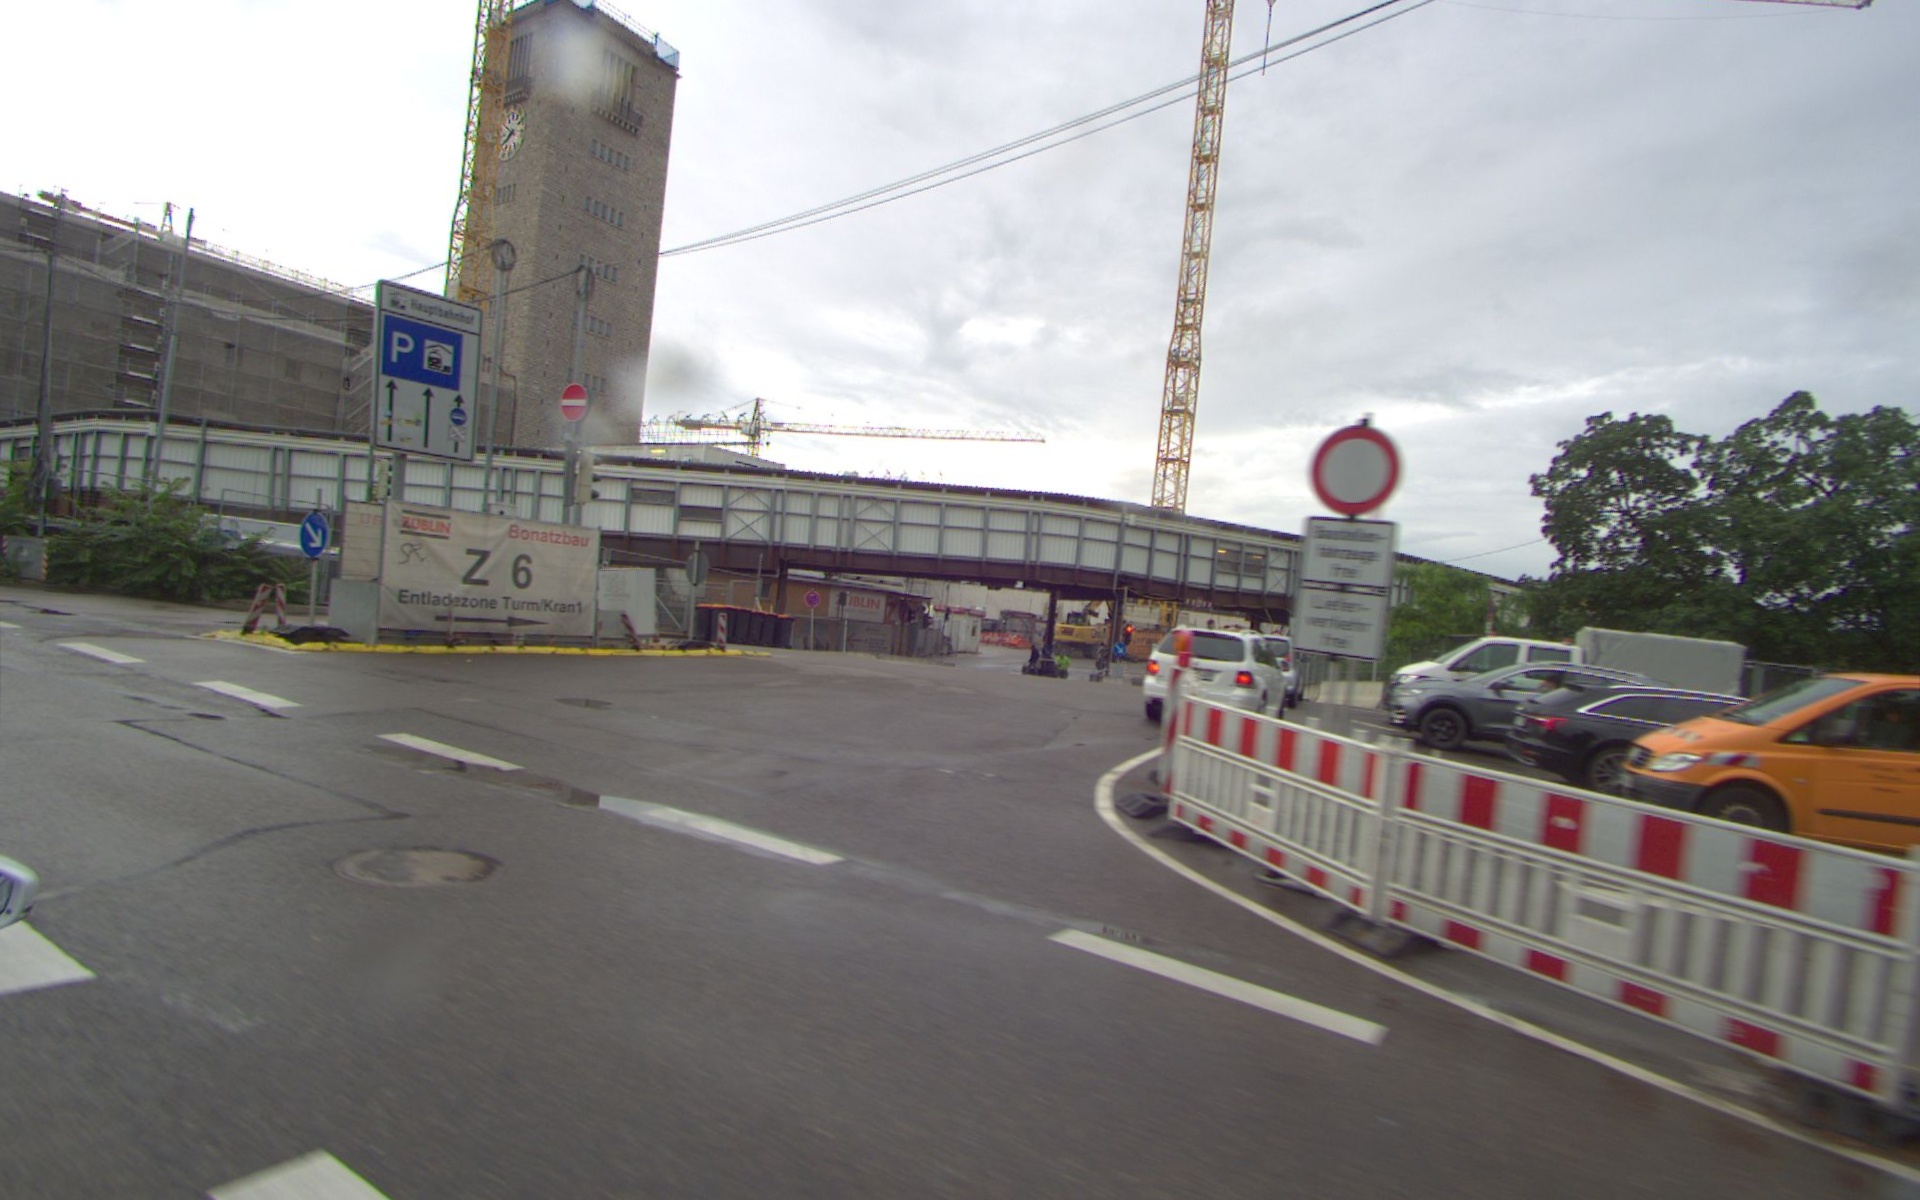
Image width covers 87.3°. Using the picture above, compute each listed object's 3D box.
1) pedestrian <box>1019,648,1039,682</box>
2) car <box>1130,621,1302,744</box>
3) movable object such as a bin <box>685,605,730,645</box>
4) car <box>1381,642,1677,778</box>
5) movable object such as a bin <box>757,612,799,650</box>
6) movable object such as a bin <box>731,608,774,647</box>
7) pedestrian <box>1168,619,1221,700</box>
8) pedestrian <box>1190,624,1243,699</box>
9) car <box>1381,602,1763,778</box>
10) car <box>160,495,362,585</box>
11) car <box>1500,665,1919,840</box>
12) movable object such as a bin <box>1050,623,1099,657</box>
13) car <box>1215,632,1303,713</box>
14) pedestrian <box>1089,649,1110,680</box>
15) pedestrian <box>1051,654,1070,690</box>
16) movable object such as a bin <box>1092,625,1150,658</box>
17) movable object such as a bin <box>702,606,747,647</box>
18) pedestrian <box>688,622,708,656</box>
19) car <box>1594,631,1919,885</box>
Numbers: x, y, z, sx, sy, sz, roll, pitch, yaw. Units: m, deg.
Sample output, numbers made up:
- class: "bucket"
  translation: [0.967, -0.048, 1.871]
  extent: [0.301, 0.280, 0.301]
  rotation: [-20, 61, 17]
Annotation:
- class: "pedestrian"
  translation: [3.595, 3.409, 52.697]
  extent: [0.831, 1.707, 0.751]
  rotation: [4, 1, -4]
- class: "car"
  translation: [4.185, 1.213, 15.946]
  extent: [1.782, 1.471, 4.211]
  rotation: [7, 1, 24]
- class: "movable object such as a bin"
  translation: [-7.398, 0.728, 29.472]
  extent: [0.719, 1.116, 0.989]
  rotation: [4, 1, 37]
- class: "car"
  translation: [8.986, 1.678, 16.323]
  extent: [3.863, 1.641, 1.943]
  rotation: [4, 1, 23]
- class: "movable object such as a bin"
  translation: [-5.557, 0.957, 30.762]
  extent: [0.719, 1.116, 0.989]
  rotation: [4, 1, 37]
- class: "movable object such as a bin"
  translation: [-6.179, 0.820, 29.939]
  extent: [0.719, 1.116, 0.989]
  rotation: [4, 1, 37]
- class: "pedestrian"
  translation: [5.308, 1.348, 22.775]
  extent: [0.701, 1.757, 0.815]
  rotation: [3, 1, -38]
- class: "pedestrian"
  translation: [5.902, 1.415, 23.170]
  extent: [0.701, 1.657, 0.811]
  rotation: [3, 1, -38]
- class: "car"
  translation: [10.833, 1.504, 18.445]
  extent: [5.503, 2.344, 2.049]
  rotation: [6, 2, 22]
- class: "car"
  translation: [-23.095, -1.923, 33.498]
  extent: [4.802, 2.157, 2.348]
  rotation: [8, 0, -14]
- class: "car"
  translation: [9.210, 1.793, 12.693]
  extent: [3.839, 1.470, 1.916]
  rotation: [5, 2, 19]
- class: "movable object such as a bin"
  translation: [8.978, 3.093, 78.700]
  extent: [3.224, 2.374, 4.000]
  rotation: [4, 0, 13]
- class: "car"
  translation: [6.705, 1.539, 22.376]
  extent: [1.596, 1.499, 3.352]
  rotation: [4, 0, 20]
- class: "pedestrian"
  translation: [8.346, 3.848, 60.235]
  extent: [1.012, 1.789, 0.751]
  rotation: [4, 1, 20]
- class: "pedestrian"
  translation: [3.950, 2.829, 39.632]
  extent: [0.547, 1.356, 0.617]
  rotation: [4, 1, 17]
- class: "movable object such as a bin"
  translation: [13.190, 3.381, 82.556]
  extent: [3.744, 2.374, 2.935]
  rotation: [4, 1, 31]
- class: "movable object such as a bin"
  translation: [-6.789, 0.779, 29.000]
  extent: [0.736, 1.116, 0.989]
  rotation: [4, 1, 37]
- class: "pedestrian"
  translation: [-11.237, 1.670, 43.134]
  extent: [0.773, 1.356, 0.691]
  rotation: [3, 1, -15]
- class: "car"
  translation: [9.275, 1.616, 9.567]
  extent: [5.069, 1.999, 1.917]
  rotation: [7, 0, 24]
